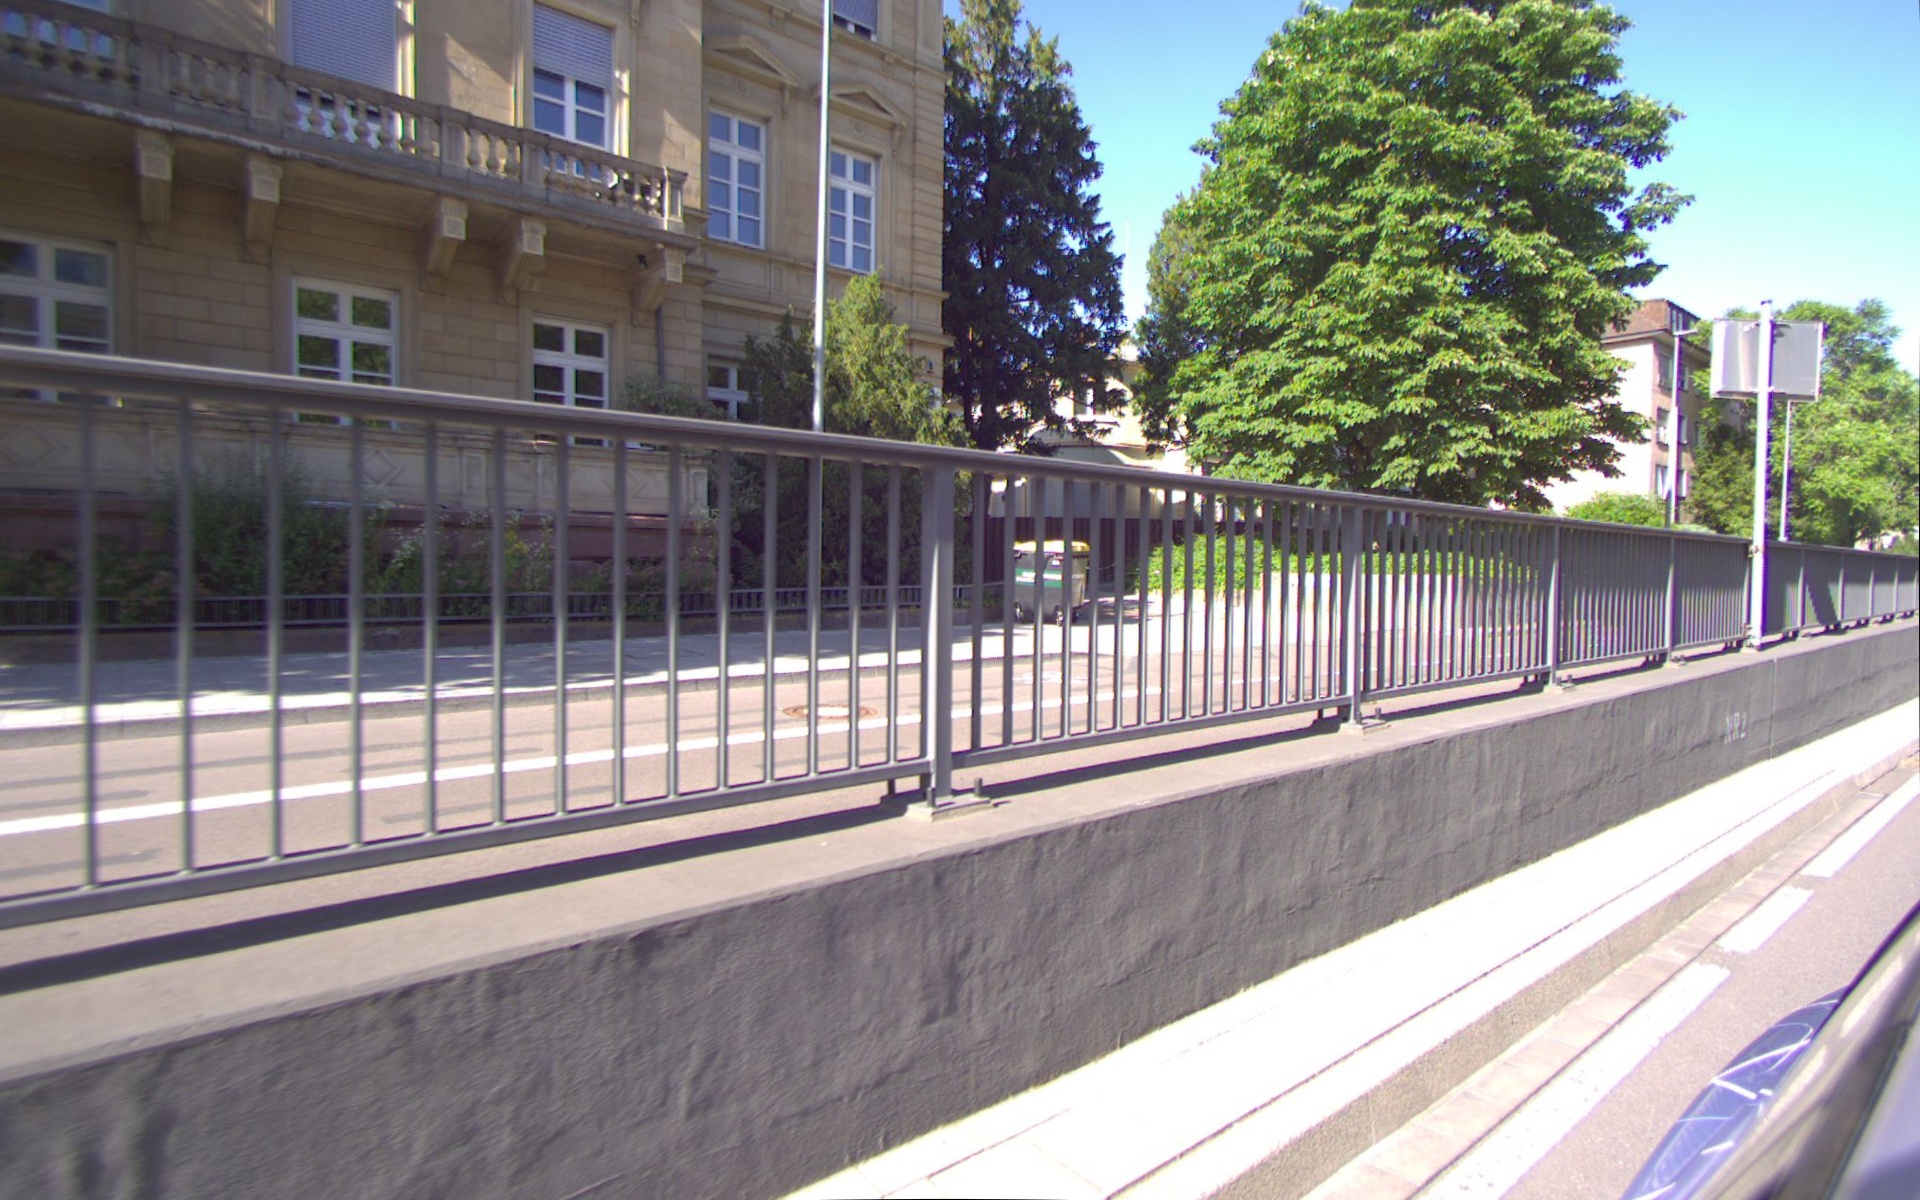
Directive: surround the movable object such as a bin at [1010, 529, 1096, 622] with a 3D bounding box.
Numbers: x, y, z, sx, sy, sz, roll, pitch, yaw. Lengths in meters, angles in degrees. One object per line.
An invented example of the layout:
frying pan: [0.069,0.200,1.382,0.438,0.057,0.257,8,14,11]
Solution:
movable object such as a bin: [1.534,-0.409,16.533,0.964,1.415,1.276,3,2,27]
